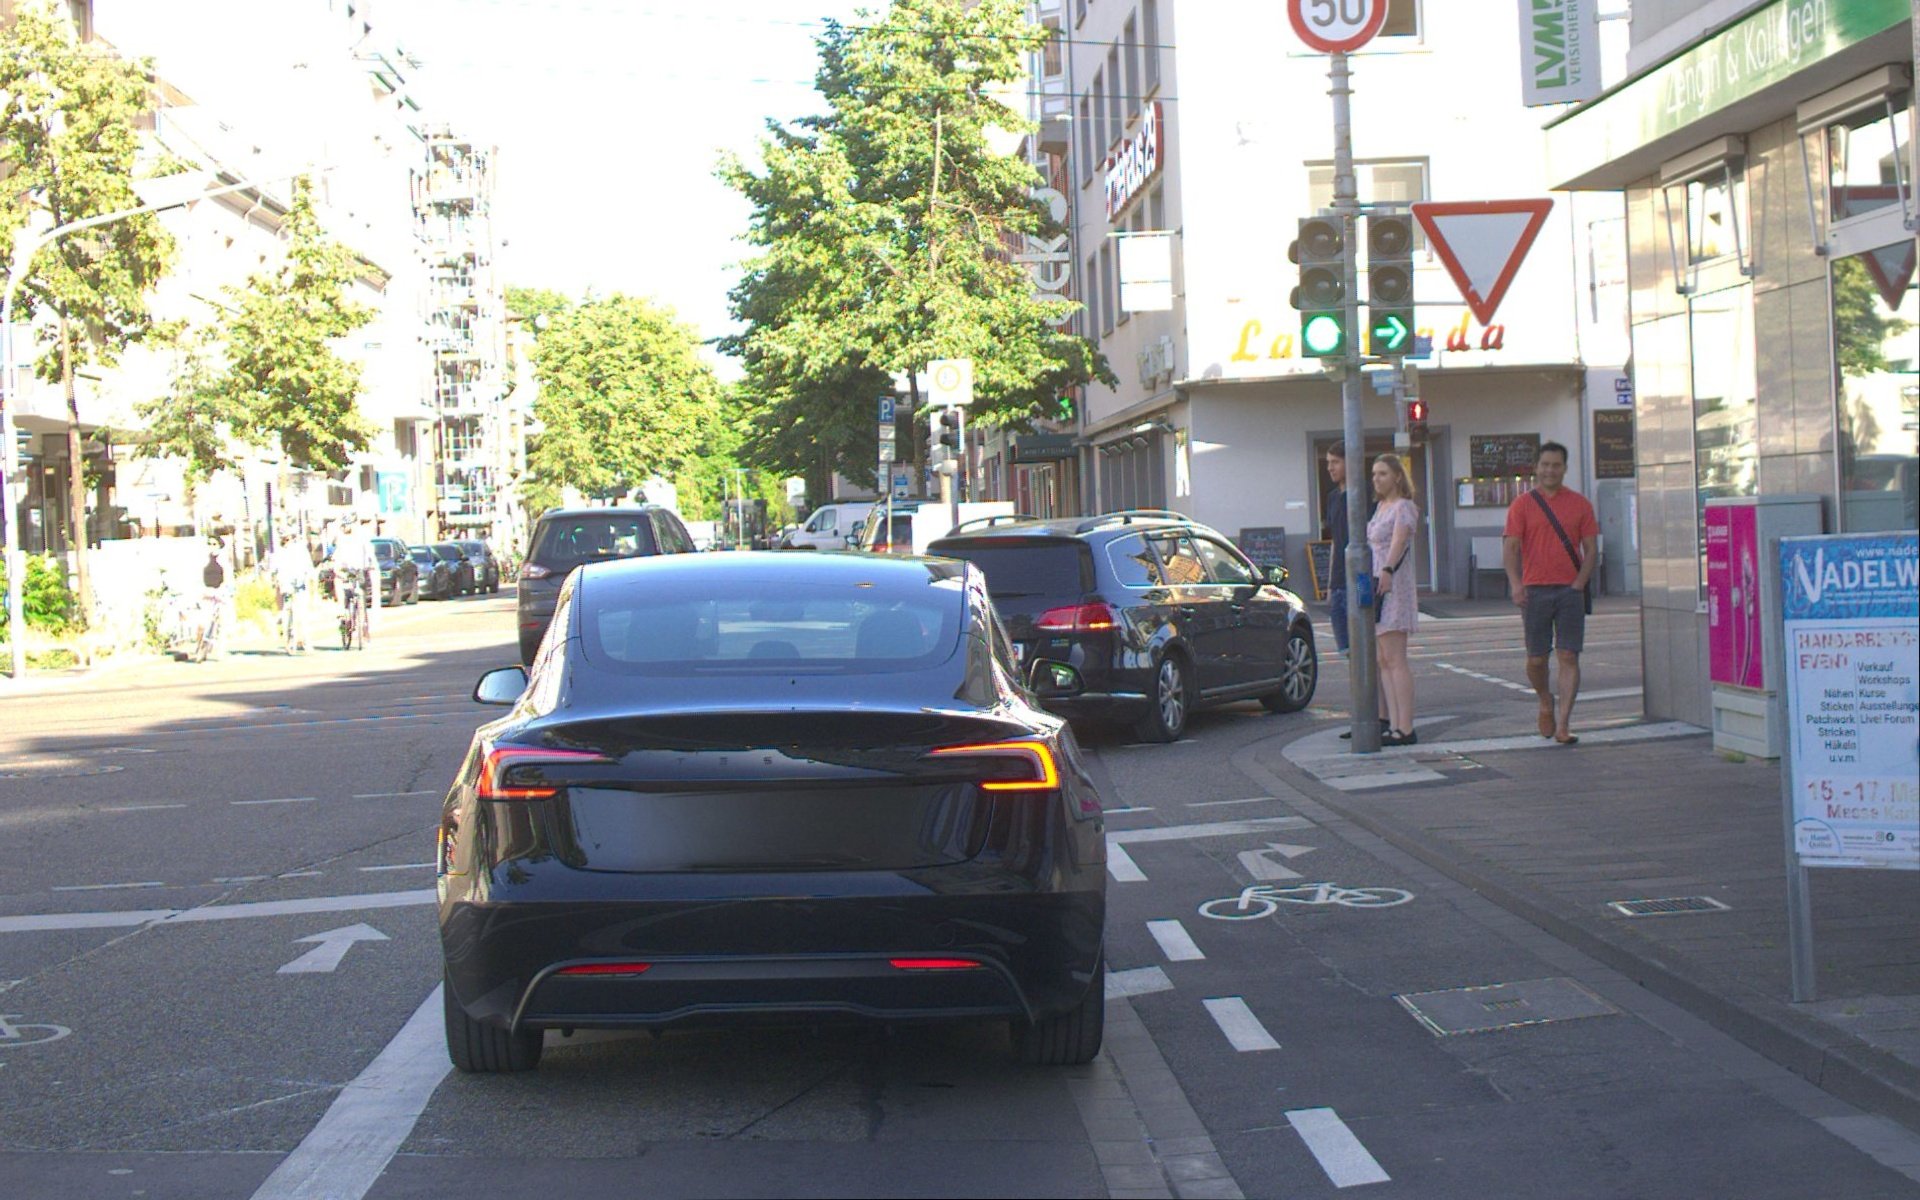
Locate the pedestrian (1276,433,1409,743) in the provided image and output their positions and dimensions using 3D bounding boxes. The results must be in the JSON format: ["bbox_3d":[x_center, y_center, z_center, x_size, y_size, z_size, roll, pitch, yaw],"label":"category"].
[{"bbox_3d":[2.327,-0.079,20.971,0.640,1.835,0.682,-3,1,-2],"label":"pedestrian"}]

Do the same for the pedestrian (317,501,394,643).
[{"bbox_3d":[-8.268,-0.386,46.990,0.778,1.860,1.002,-5,2,-16],"label":"pedestrian"}]

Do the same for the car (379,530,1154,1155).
[{"bbox_3d":[-0.523,0.560,10.750,1.869,1.422,4.365,-2,2,-1],"label":"car"}]

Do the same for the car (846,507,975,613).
[{"bbox_3d":[-0.862,-0.696,57.219,2.001,1.630,4.289,-2,1,-2],"label":"car"}]

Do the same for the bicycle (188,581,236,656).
[{"bbox_3d":[-10.055,0.241,46.193,0.480,0.952,1.456,-3,1,-16],"label":"bicycle"}]

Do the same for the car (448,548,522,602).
[{"bbox_3d":[-13.494,-0.724,97.810,1.786,1.397,3.907,-2,1,-4],"label":"car"}]

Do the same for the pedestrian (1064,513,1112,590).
[{"bbox_3d":[2.323,-0.879,62.497,0.730,1.355,0.959,-3,1,-2],"label":"pedestrian"}]

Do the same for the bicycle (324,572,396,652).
[{"bbox_3d":[-8.205,0.155,46.967,0.758,1.004,1.726,-6,2,-13],"label":"bicycle"}]

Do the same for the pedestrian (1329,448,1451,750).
[{"bbox_3d":[2.551,-0.013,20.435,0.572,1.753,0.649,-2,1,-2],"label":"pedestrian"}]

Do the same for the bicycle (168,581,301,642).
[{"bbox_3d":[-12.734,0.190,60.371,2.219,0.955,0.656,-3,1,-14],"label":"bicycle"}]

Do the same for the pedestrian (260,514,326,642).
[{"bbox_3d":[-9.143,-0.305,47.101,0.778,1.722,0.559,-2,1,-16],"label":"pedestrian"}]

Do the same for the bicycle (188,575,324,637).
[{"bbox_3d":[-12.945,0.106,63.250,2.396,1.002,0.656,-3,1,-13],"label":"bicycle"}]

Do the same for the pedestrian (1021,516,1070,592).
[{"bbox_3d":[1.547,-0.837,62.315,0.709,1.342,1.060,-3,1,-5],"label":"pedestrian"}]

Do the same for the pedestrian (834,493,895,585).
[{"bbox_3d":[-2.039,-1.310,73.746,0.958,1.909,1.104,-3,1,14],"label":"pedestrian"}]

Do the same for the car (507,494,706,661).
[{"bbox_3d":[-3.951,-0.293,39.056,1.904,1.727,4.289,-2,1,-2],"label":"car"}]

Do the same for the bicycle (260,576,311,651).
[{"bbox_3d":[-9.213,0.174,46.932,0.552,0.965,1.795,-3,1,-14],"label":"bicycle"}]

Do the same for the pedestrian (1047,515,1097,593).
[{"bbox_3d":[1.991,-0.827,61.218,0.730,1.342,1.060,-3,1,-4],"label":"pedestrian"}]

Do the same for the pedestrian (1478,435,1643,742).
[{"bbox_3d":[3.464,-0.078,19.892,0.690,1.697,0.912,-3,1,-1],"label":"pedestrian"}]

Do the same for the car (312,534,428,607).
[{"bbox_3d":[-13.717,-0.711,80.128,1.993,1.592,4.000,-2,1,-1],"label":"car"}]

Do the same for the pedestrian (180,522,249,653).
[{"bbox_3d":[-9.952,-0.168,45.862,0.790,1.706,0.654,-2,1,-17],"label":"pedestrian"}]

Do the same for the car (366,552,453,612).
[{"bbox_3d":[-14.032,-0.478,87.835,1.786,1.397,3.907,-2,1,-4],"label":"car"}]

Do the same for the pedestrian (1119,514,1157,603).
[{"bbox_3d":[2.715,-0.637,52.519,0.488,1.317,0.653,-3,1,5],"label":"pedestrian"}]

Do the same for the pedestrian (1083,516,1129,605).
[{"bbox_3d":[2.192,-0.594,51.724,0.586,1.308,0.560,-3,1,-2],"label":"pedestrian"}]

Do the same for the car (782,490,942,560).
[{"bbox_3d":[-3.403,-2.586,118.978,5.391,2.138,2.000,-3,1,-3],"label":"car"}]

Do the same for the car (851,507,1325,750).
[{"bbox_3d":[0.964,0.128,22.773,1.763,1.414,4.350,-1,1,21],"label":"car"}]

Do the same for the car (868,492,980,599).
[{"bbox_3d":[-0.707,-1.021,63.744,1.904,1.845,4.289,-2,1,-2],"label":"car"}]

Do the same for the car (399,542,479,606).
[{"bbox_3d":[-14.059,-0.718,92.939,1.718,1.604,3.598,-3,1,-3],"label":"car"}]
